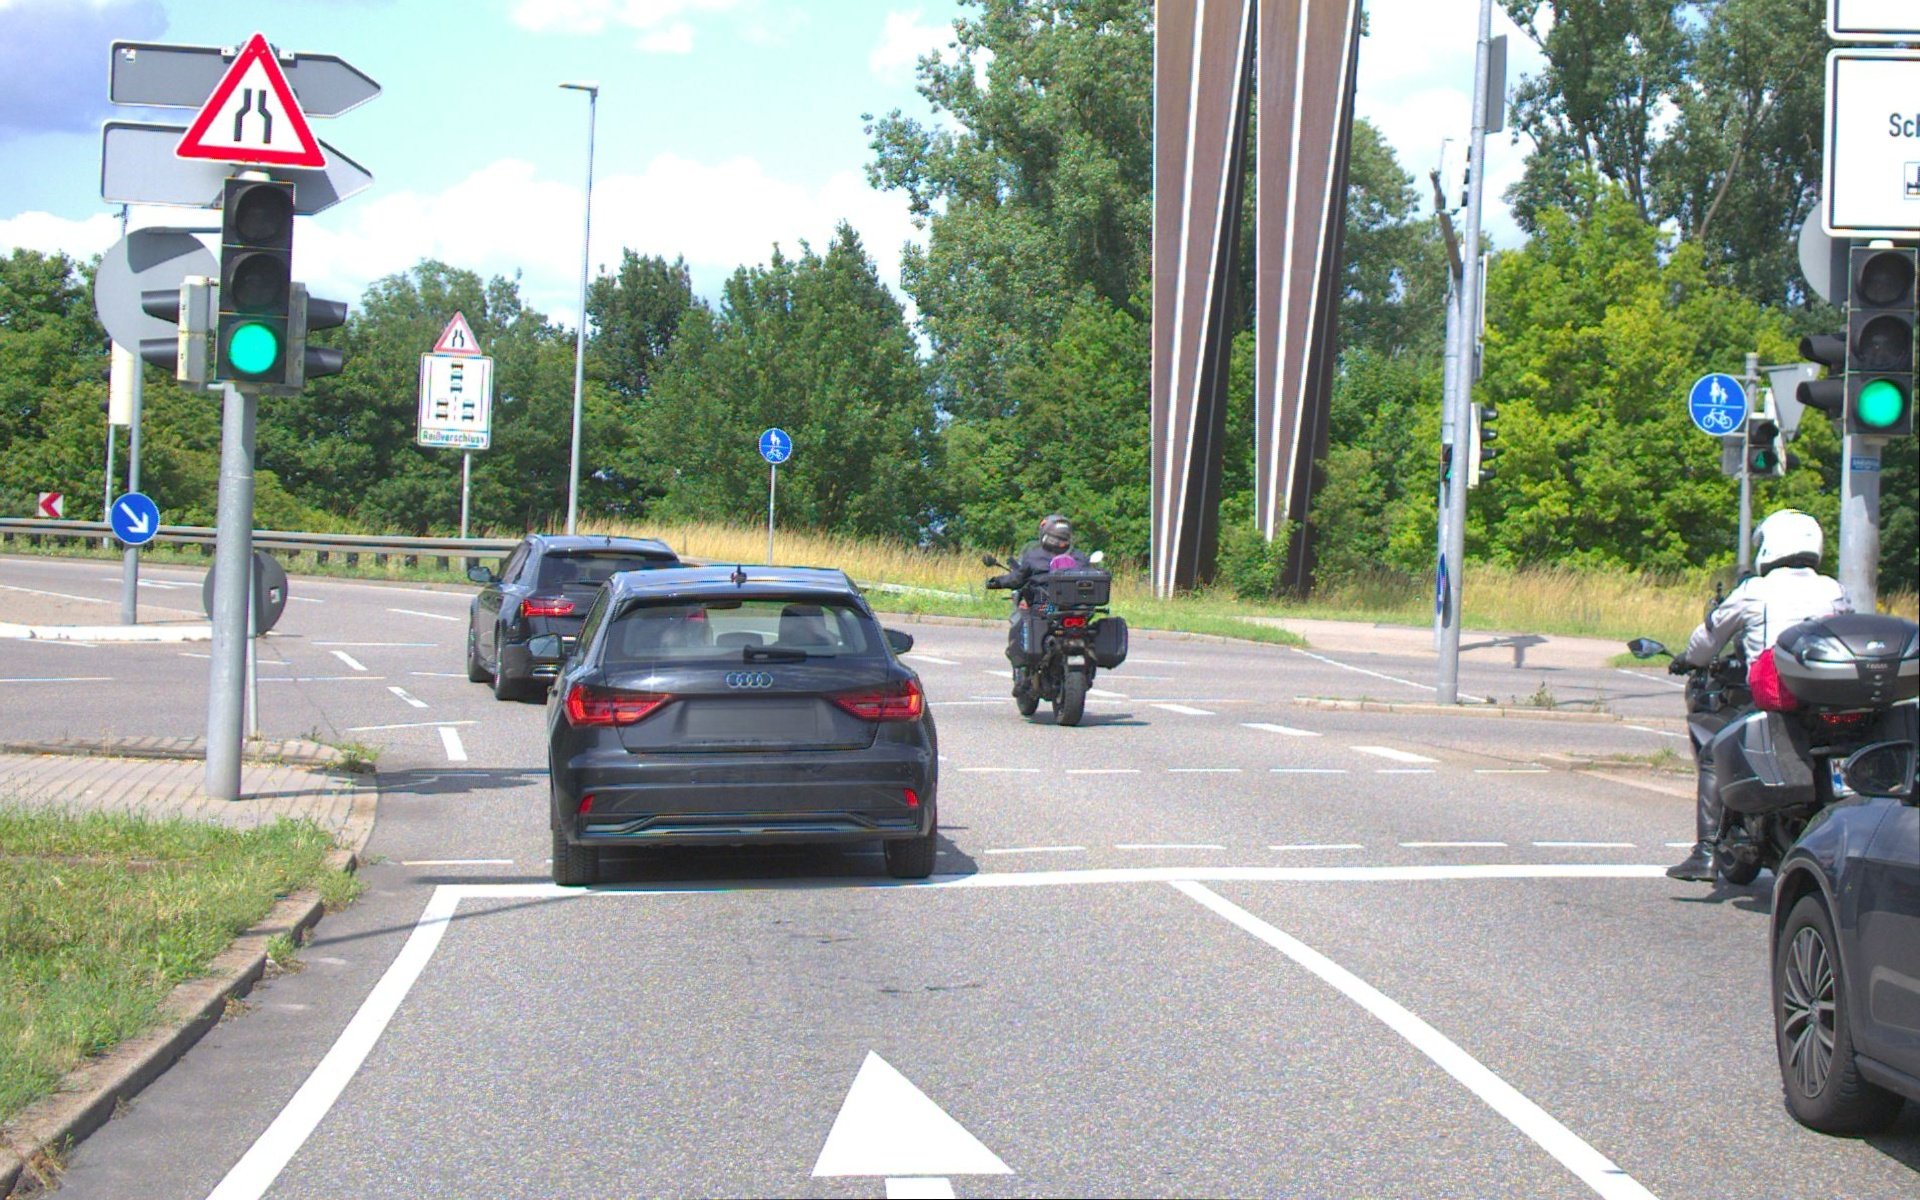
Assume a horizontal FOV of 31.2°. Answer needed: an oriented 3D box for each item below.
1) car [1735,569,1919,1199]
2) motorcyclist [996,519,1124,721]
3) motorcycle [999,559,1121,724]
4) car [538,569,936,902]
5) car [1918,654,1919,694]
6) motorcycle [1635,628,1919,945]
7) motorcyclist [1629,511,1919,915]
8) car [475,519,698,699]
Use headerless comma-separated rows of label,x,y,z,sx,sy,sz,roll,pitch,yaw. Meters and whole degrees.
car,3.064,0.704,7.445,1.642,1.474,3.873,1,1,-4
motorcyclist,0.805,0.151,28.034,0.966,1.590,1.125,2,1,0
motorcycle,0.794,0.311,28.012,0.887,1.243,2.399,2,1,0
car,-1.105,0.560,16.468,1.681,1.383,3.740,0,1,-5
car,13.628,0.448,40.258,4.202,1.640,1.838,3,2,-2
motorcycle,3.465,0.726,14.350,0.789,1.128,2.399,2,1,0
motorcyclist,3.452,0.453,14.553,0.966,1.615,1.125,2,1,0
car,-3.285,0.043,30.797,1.642,1.474,3.872,1,1,-2
